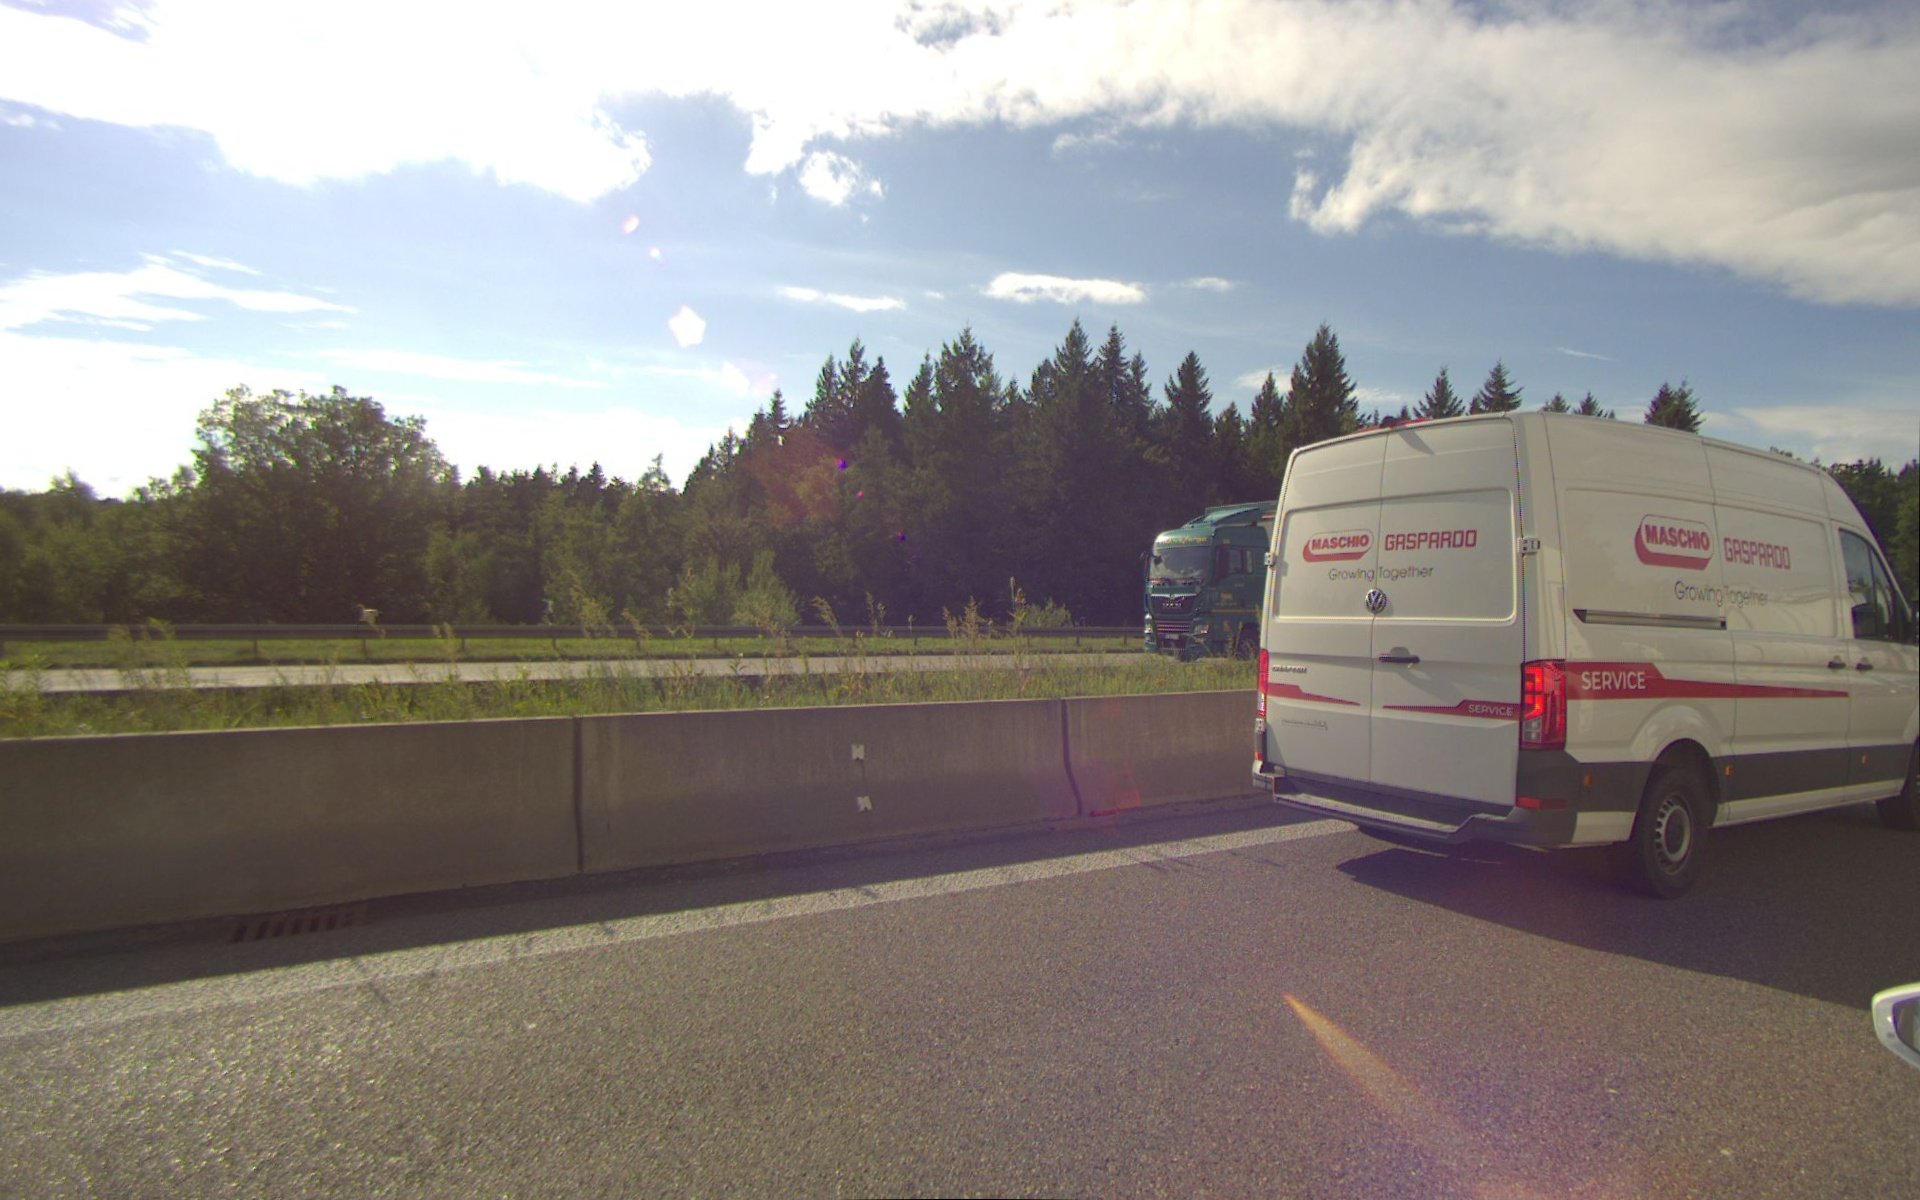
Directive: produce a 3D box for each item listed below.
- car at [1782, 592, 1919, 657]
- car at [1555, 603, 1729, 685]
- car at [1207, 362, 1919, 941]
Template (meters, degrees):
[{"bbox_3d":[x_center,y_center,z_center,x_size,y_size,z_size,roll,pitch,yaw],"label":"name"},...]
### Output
[{"bbox_3d":[24.470,0.677,27.548,3.954,1.603,1.660,2,3,-31],"label":"car"},{"bbox_3d":[15.544,0.954,22.880,3.764,1.706,1.820,1,0,-30],"label":"car"},{"bbox_3d":[4.697,0.268,6.950,6.106,2.633,2.006,1,0,-29],"label":"car"}]
